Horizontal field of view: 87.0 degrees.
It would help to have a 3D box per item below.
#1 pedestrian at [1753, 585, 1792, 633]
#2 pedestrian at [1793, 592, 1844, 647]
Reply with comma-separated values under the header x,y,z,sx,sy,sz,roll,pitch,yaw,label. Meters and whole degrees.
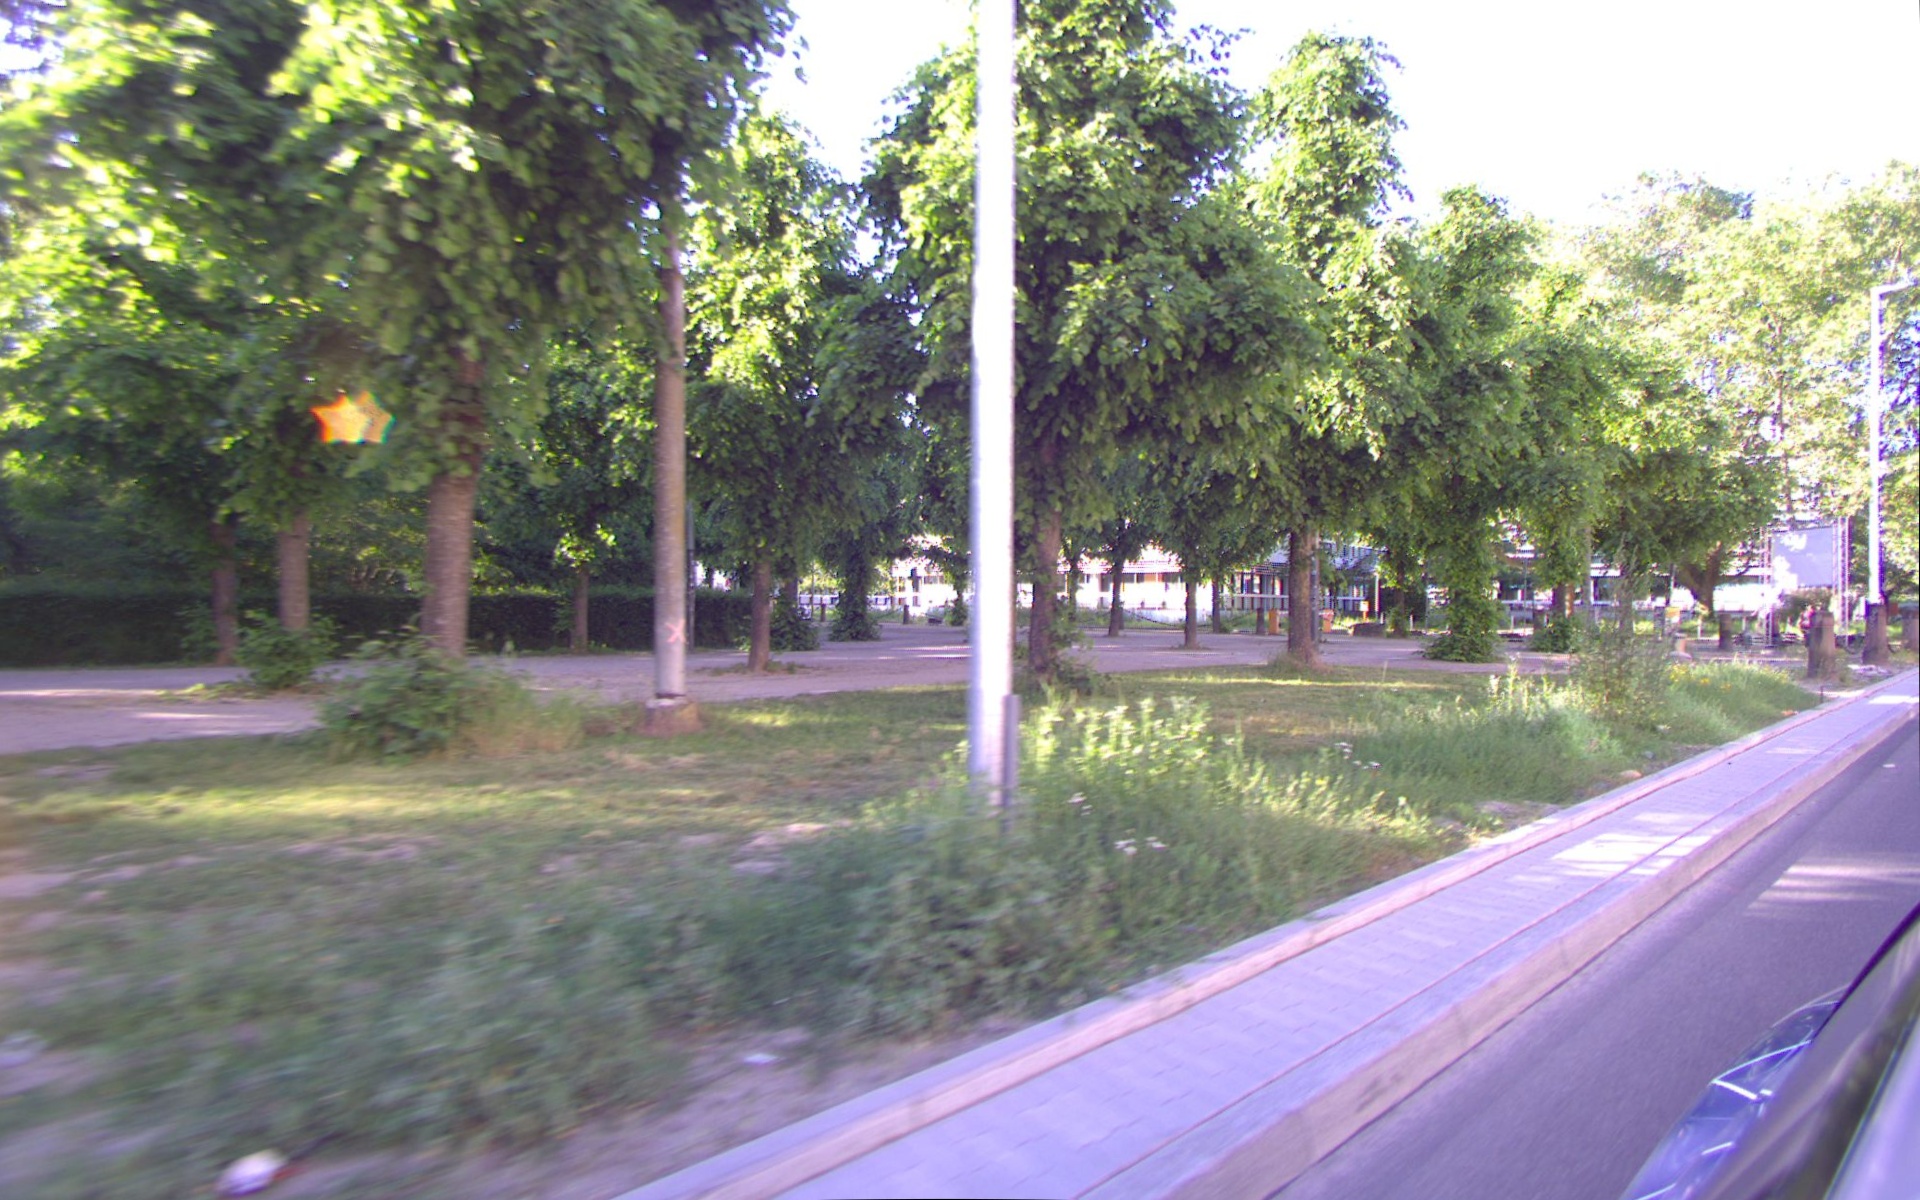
x,y,z,sx,sy,sz,roll,pitch,yaw,label
31.612,0.353,39.397,1.127,1.836,0.737,0,-2,36,pedestrian
26.277,0.588,30.973,0.923,1.644,0.709,0,-1,9,pedestrian
